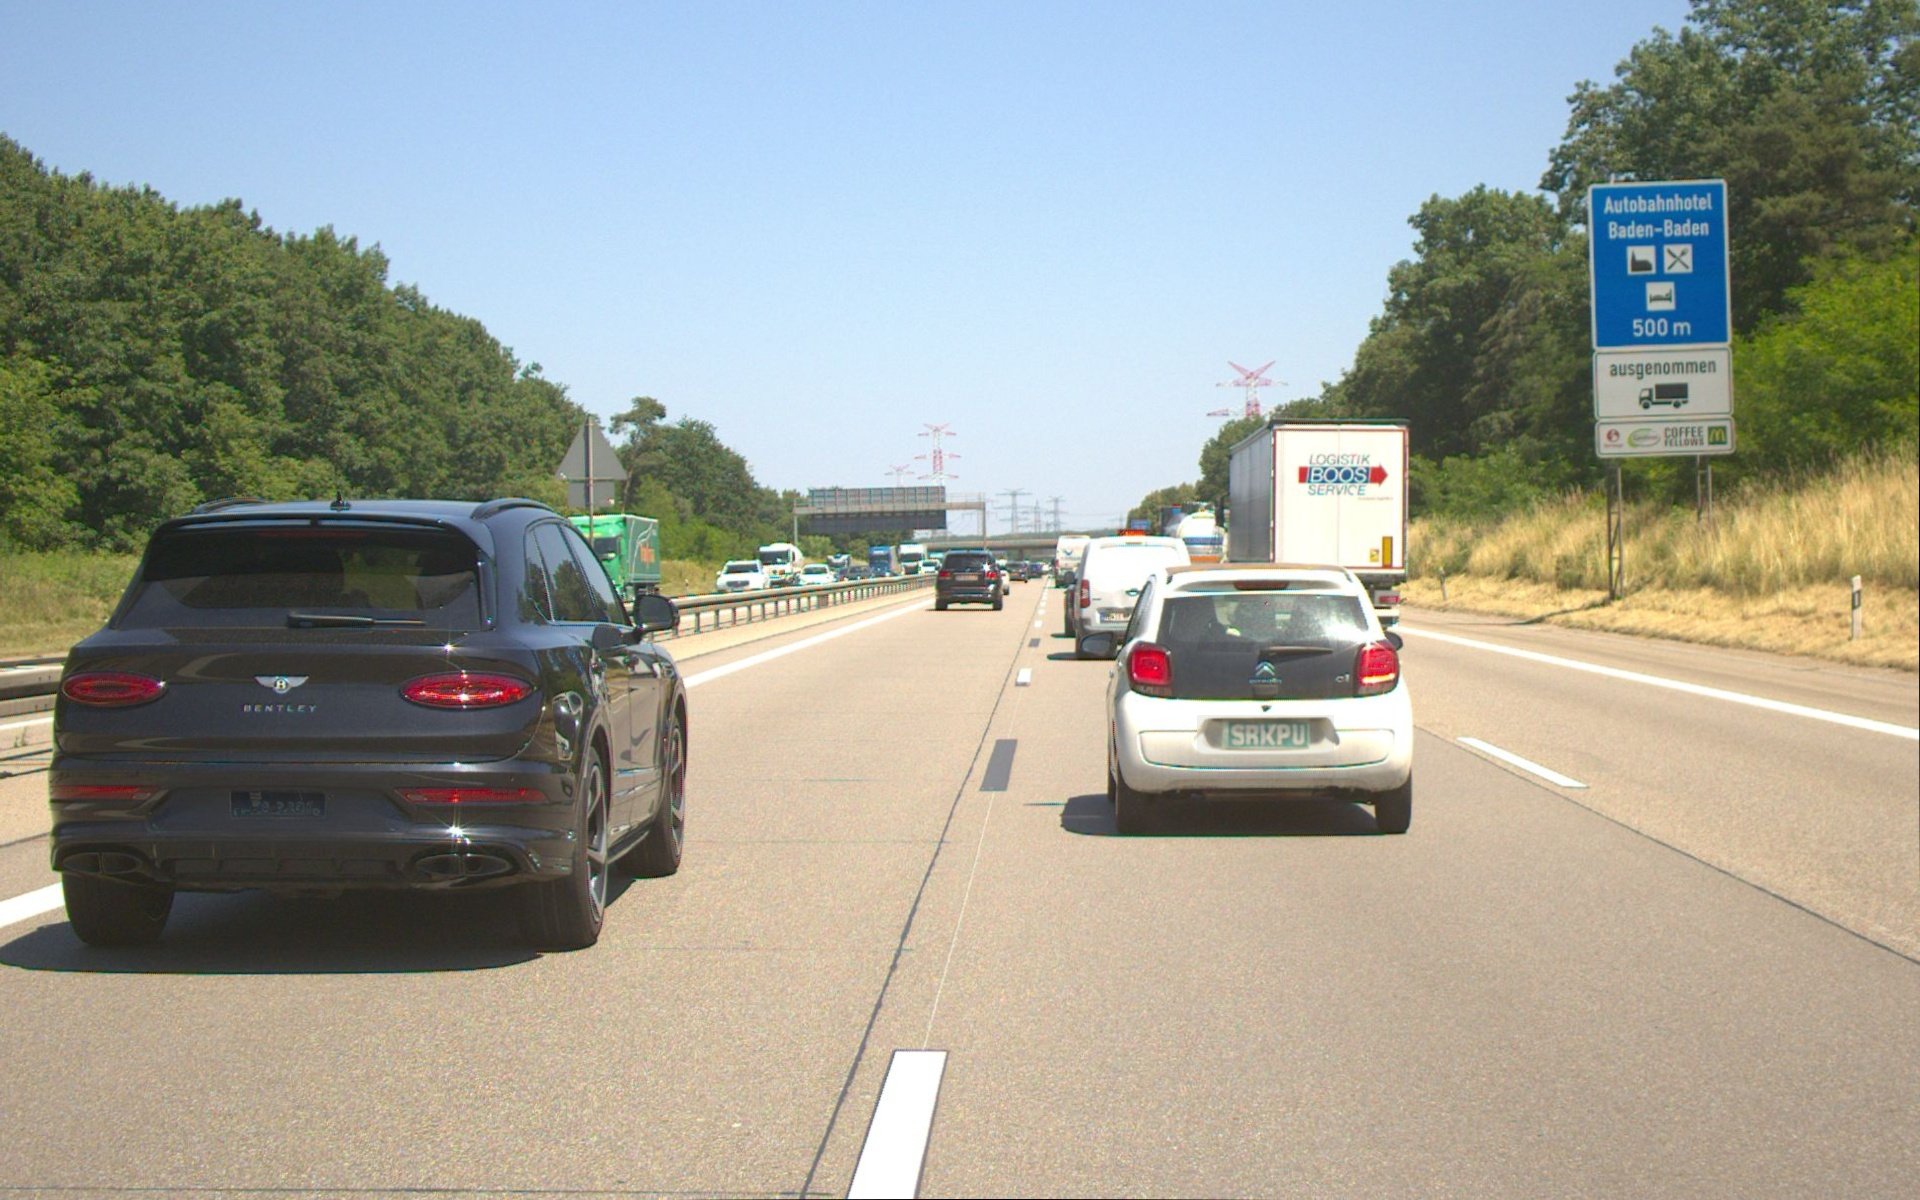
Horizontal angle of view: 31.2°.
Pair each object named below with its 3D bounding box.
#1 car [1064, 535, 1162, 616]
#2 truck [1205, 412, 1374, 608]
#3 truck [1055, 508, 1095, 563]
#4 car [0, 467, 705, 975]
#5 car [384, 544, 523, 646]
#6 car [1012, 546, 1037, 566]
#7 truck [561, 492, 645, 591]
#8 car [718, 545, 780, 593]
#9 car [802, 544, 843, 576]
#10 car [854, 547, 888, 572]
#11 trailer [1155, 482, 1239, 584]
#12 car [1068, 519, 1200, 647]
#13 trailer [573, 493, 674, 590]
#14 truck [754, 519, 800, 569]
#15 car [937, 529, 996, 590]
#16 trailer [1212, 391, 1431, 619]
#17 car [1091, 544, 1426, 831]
[{"bbox_3d":[2.908,-0.482,65.886,1.774,1.467,3.872,-1,1,1],"label":"car"},{"bbox_3d":[7.298,-1.979,76.940,3.286,4.205,6.007,0,1,1],"label":"truck"},{"bbox_3d":[6.183,-3.454,185.660,2.060,2.904,7.003,-1,1,1],"label":"truck"},{"bbox_3d":[-2.322,0.338,14.728,1.940,1.746,5.813,0,2,1],"label":"car"},{"bbox_3d":[-11.667,-0.153,79.622,2.165,2.123,5.422,-4,1,2],"label":"car"},{"bbox_3d":[4.330,-2.946,230.975,1.607,1.296,3.674,0,1,2],"label":"car"},{"bbox_3d":[-15.873,-2.606,153.156,2.700,4.147,6.296,-4,1,2],"label":"truck"},{"bbox_3d":[-8.632,-1.290,140.815,1.954,1.786,5.562,-4,1,2],"label":"car"},{"bbox_3d":[-6.927,-2.013,173.672,1.655,1.495,4.600,-4,1,2],"label":"car"},{"bbox_3d":[-5.465,-2.486,211.631,1.709,1.405,5.083,-4,1,2],"label":"car"},{"bbox_3d":[9.254,-2.610,135.094,2.683,3.824,12.010,0,1,1],"label":"trailer"},{"bbox_3d":[2.592,-0.278,52.111,1.814,1.821,5.110,-1,1,1],"label":"car"},{"bbox_3d":[-15.660,-2.749,161.006,2.705,4.147,14.338,-4,1,2],"label":"trailer"},{"bbox_3d":[-13.255,-4.068,249.342,2.682,3.422,6.144,-3,1,2],"label":"truck"},{"bbox_3d":[0.196,-1.188,100.481,1.626,1.749,3.804,0,1,2],"label":"car"},{"bbox_3d":[7.192,-1.850,70.463,3.286,4.205,13.565,0,1,1],"label":"trailer"},{"bbox_3d":[1.642,0.427,20.042,1.708,1.490,4.024,0,1,2],"label":"car"}]
